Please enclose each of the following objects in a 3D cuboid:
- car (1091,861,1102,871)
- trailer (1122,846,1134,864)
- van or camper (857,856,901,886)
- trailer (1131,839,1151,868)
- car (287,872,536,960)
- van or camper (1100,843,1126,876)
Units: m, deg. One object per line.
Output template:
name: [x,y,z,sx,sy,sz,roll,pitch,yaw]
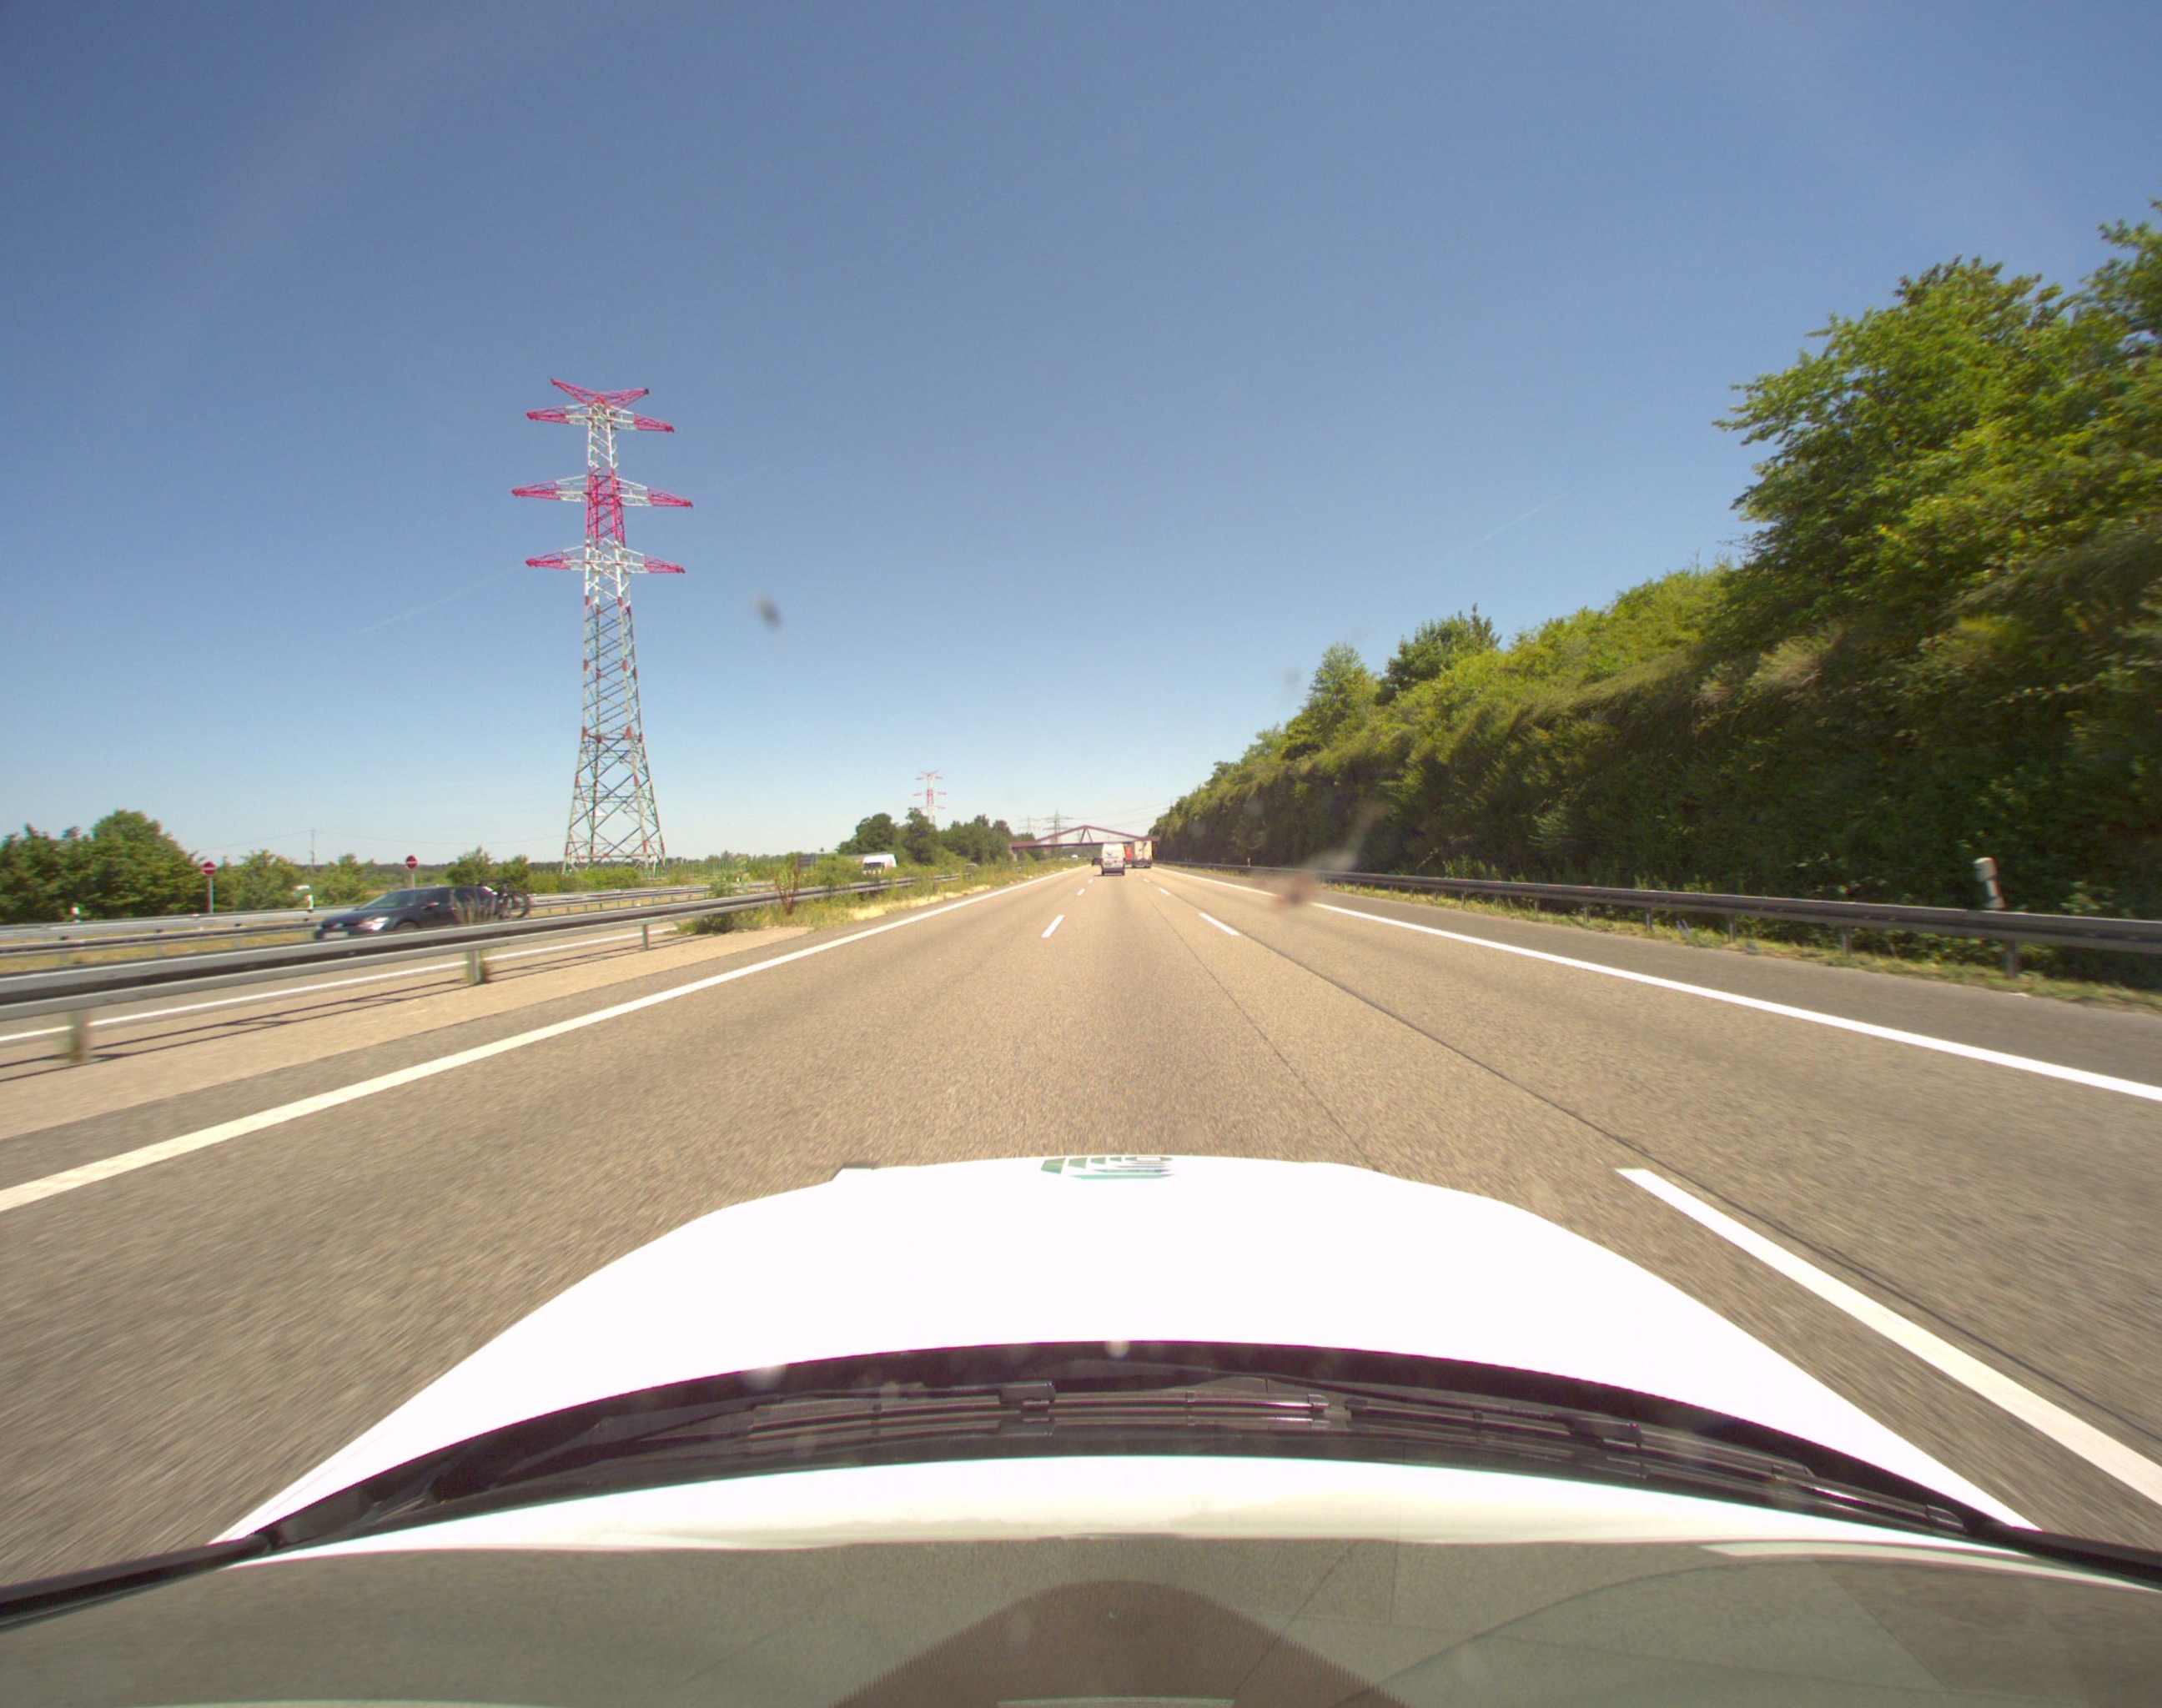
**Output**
car: [3.163,2.379,161.385,1.974,1.817,3.816,0,0,4]
trailer: [10.563,0.298,183.544,2.627,3.897,7.073,0,0,3]
van or camper: [-17.774,1.427,72.031,2.051,2.524,6.393,0,0,2]
trailer: [8.707,-0.056,119.126,2.627,4.060,12.374,0,0,3]
car: [-16.313,1.414,20.314,1.947,1.810,5.048,0,0,1]
van or camper: [2.812,0.452,71.414,2.222,2.782,5.425,0,0,2]
